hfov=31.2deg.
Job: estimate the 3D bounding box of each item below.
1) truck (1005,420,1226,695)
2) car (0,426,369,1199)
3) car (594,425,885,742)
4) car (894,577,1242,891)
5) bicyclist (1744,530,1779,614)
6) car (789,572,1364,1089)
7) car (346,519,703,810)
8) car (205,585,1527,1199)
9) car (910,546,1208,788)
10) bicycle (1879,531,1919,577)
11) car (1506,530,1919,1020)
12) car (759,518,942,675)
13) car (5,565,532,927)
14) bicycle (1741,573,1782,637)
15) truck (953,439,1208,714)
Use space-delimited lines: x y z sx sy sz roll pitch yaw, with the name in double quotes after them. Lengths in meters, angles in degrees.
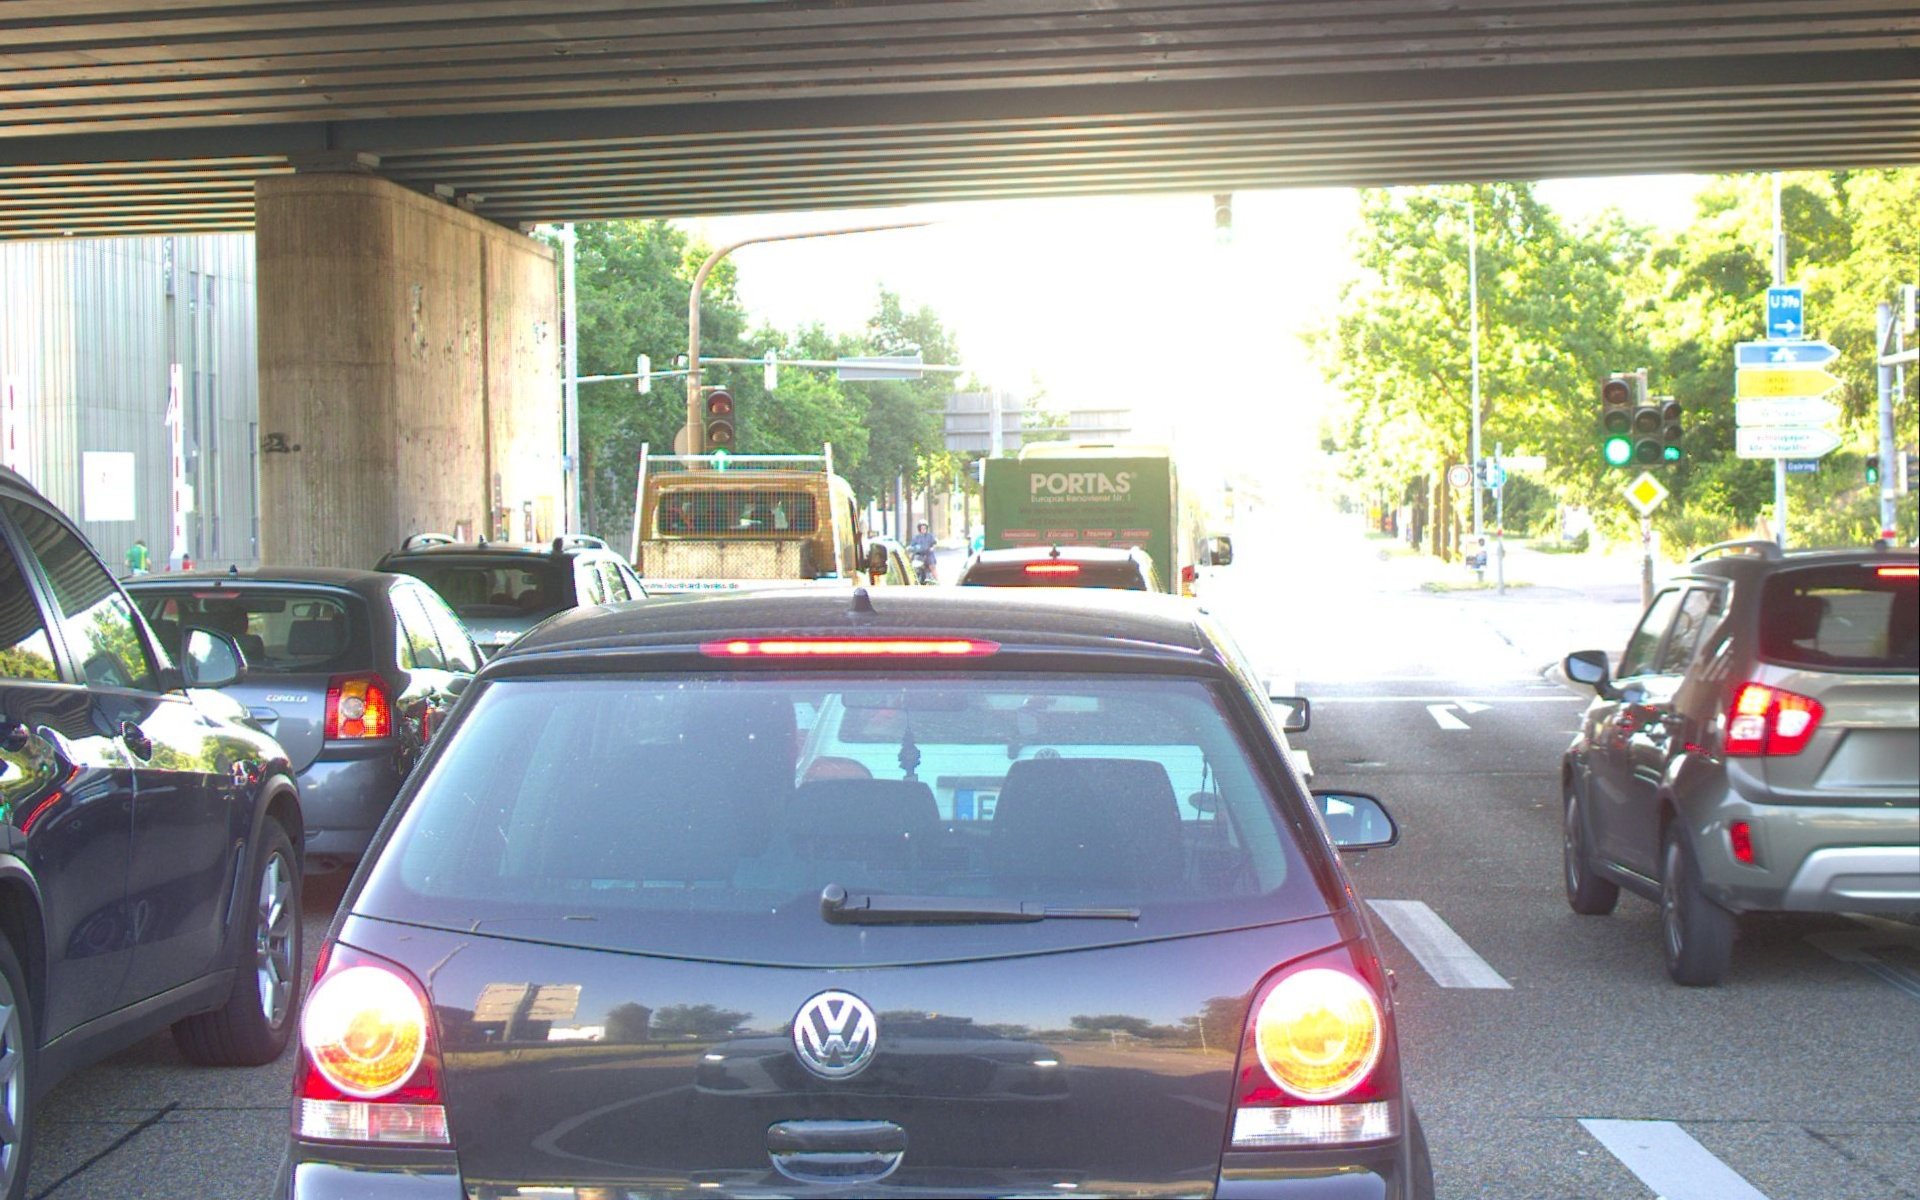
1.666 -0.435 35.533 1.996 2.659 3.999 1 1 6 "truck"
-2.925 0.479 8.326 1.994 1.728 4.532 1 1 3 "car"
-1.865 -0.161 30.736 2.137 2.567 5.087 1 1 1 "car"
0.525 0.603 17.837 1.578 1.408 4.062 1 1 1 "car"
11.787 -0.407 50.558 0.427 1.229 0.460 -1 0 6 "bicyclist"
0.350 0.622 11.580 1.578 1.408 4.062 1 1 1 "car"
-2.685 0.359 21.930 1.617 1.673 3.683 1 1 3 "car"
-0.063 0.697 6.063 1.616 1.405 3.683 1 1 2 "car"
0.787 0.419 24.536 1.796 1.553 3.999 1 1 6 "car"
21.541 -1.049 77.230 1.664 0.988 0.577 -1 4 23 "bicycle"
3.322 0.571 13.506 1.737 1.625 4.062 1 1 1 "car"
-1.194 -0.056 38.957 1.617 1.673 3.682 1 1 5 "car"
-2.959 0.558 15.408 1.616 1.405 3.683 1 1 0 "car"
11.787 0.066 50.548 0.437 0.911 1.026 -2 0 6 "bicycle"
1.159 -0.220 31.101 1.996 2.307 3.999 1 1 6 "truck"
